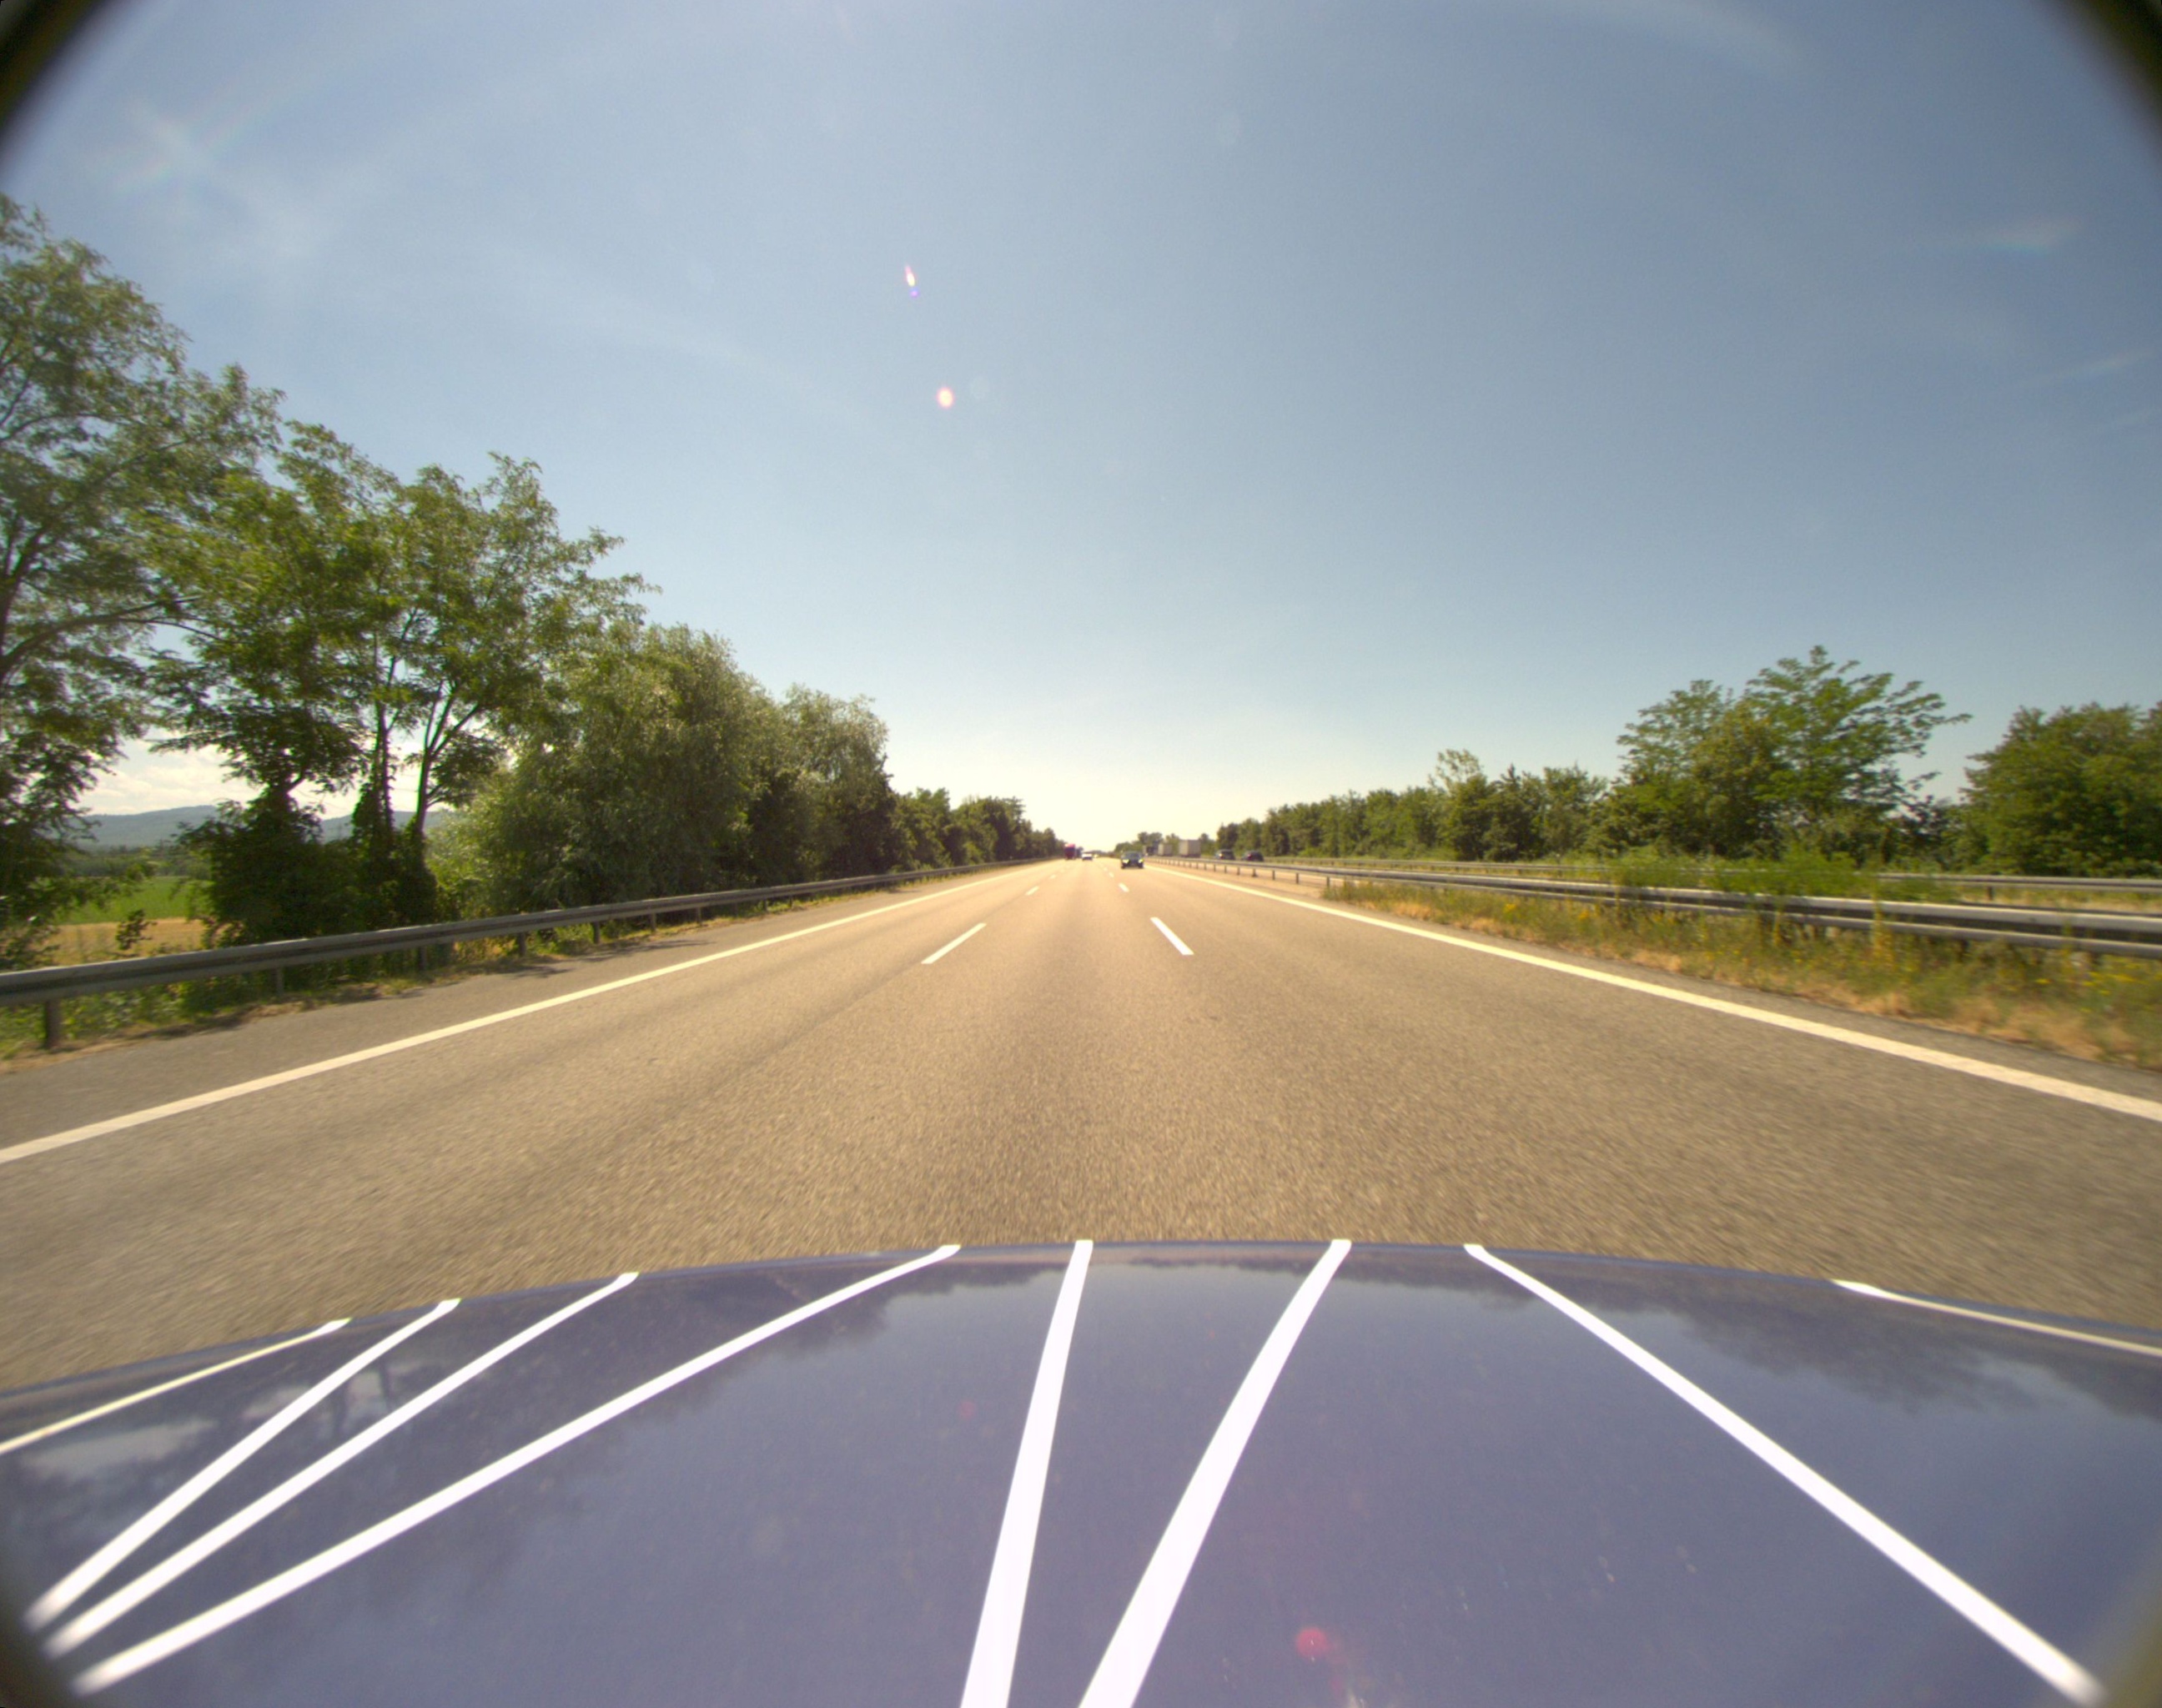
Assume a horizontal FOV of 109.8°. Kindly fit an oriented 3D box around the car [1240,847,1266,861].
[{"bbox_3d":[18.417,-0.016,81.515,1.867,1.393,4.531,0,0,0],"label":"car"}]

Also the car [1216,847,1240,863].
[{"bbox_3d":[14.089,0.074,73.214,1.557,1.454,4.046,-1,0,0],"label":"car"}]

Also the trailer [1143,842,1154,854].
[{"bbox_3d":[24.178,-2.051,271.436,2.927,4.162,13.540,1,1,1],"label":"trailer"}]

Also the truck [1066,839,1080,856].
[{"bbox_3d":[-1.953,-1.471,189.511,2.938,3.933,10.261,-3,0,1],"label":"truck"}]

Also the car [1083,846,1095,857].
[{"bbox_3d":[1.532,-0.400,143.822,1.998,2.002,4.756,-3,0,1],"label":"car"}]

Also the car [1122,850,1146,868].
[{"bbox_3d":[4.492,0.407,64.610,1.736,1.433,4.000,-3,0,1],"label":"car"}]

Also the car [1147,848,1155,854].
[{"bbox_3d":[19.819,-0.947,214.323,1.854,1.455,4.313,-5,1,0],"label":"car"}]

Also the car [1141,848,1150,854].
[{"bbox_3d":[16.101,-0.757,189.299,1.854,1.387,4.742,1,1,1],"label":"car"}]

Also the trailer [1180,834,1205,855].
[{"bbox_3d":[22.949,-1.873,157.014,3.305,4.162,13.541,-1,0,0],"label":"trailer"}]

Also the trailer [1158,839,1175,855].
[{"bbox_3d":[23.584,-1.800,210.512,3.357,4.162,13.541,-1,0,0],"label":"trailer"}]
